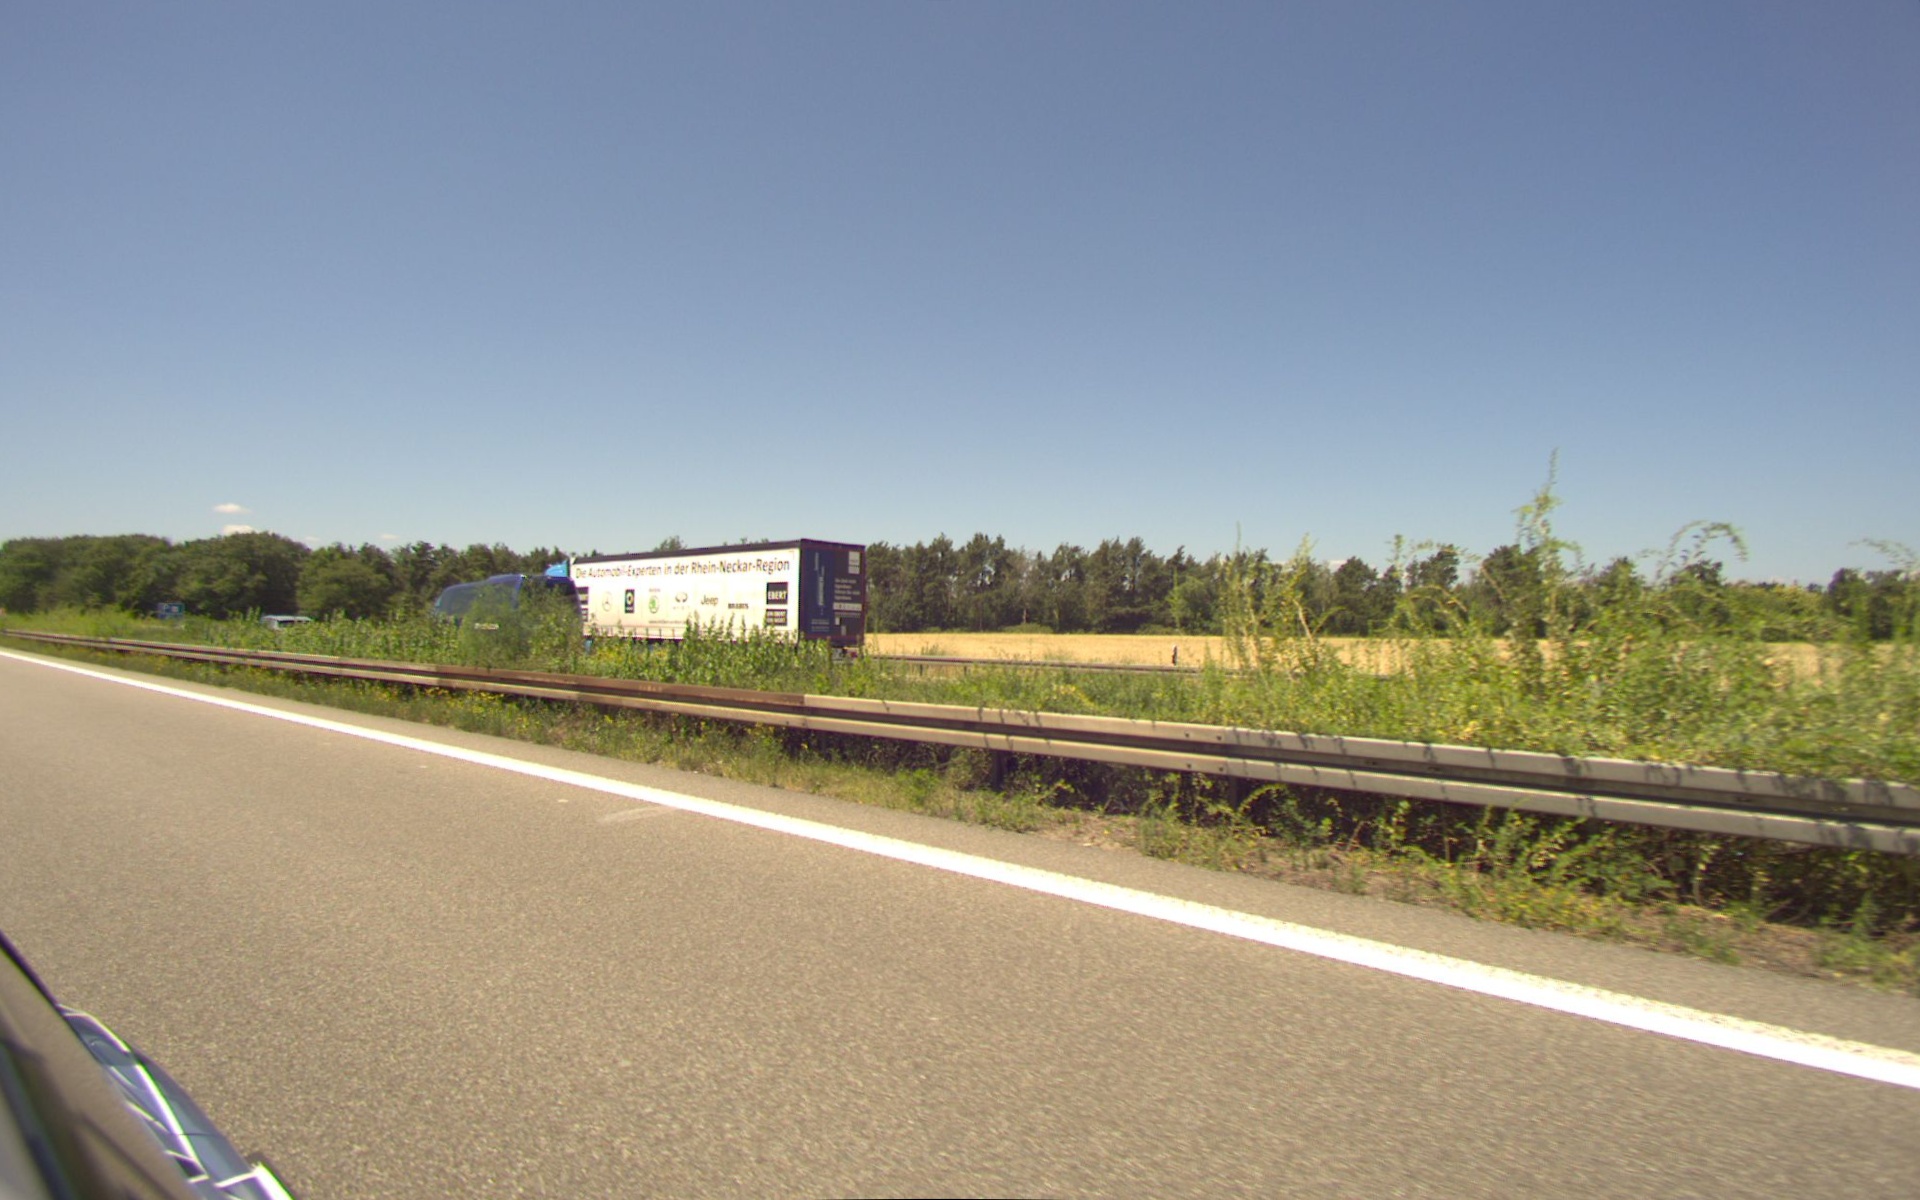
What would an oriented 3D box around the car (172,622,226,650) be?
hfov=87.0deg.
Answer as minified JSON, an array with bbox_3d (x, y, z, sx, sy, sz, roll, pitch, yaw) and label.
[{"bbox_3d":[-45.000,2.116,59.816,3.927,1.632,1.828,-1,-2,42],"label":"car"}]

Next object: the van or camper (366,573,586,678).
[{"bbox_3d":[-17.066,0.859,35.050,11.506,3.125,2.583,-1,-2,41],"label":"van or camper"}]

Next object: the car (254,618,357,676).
[{"bbox_3d":[-24.173,1.673,37.312,4.710,2.029,1.973,-1,-2,41],"label":"car"}]

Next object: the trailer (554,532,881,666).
[{"bbox_3d":[-8.777,0.058,34.147,14.378,3.726,3.077,-1,0,42],"label":"trailer"}]

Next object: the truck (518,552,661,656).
[{"bbox_3d":[-14.395,0.162,39.181,5.196,3.726,3.077,-1,0,42],"label":"truck"}]
